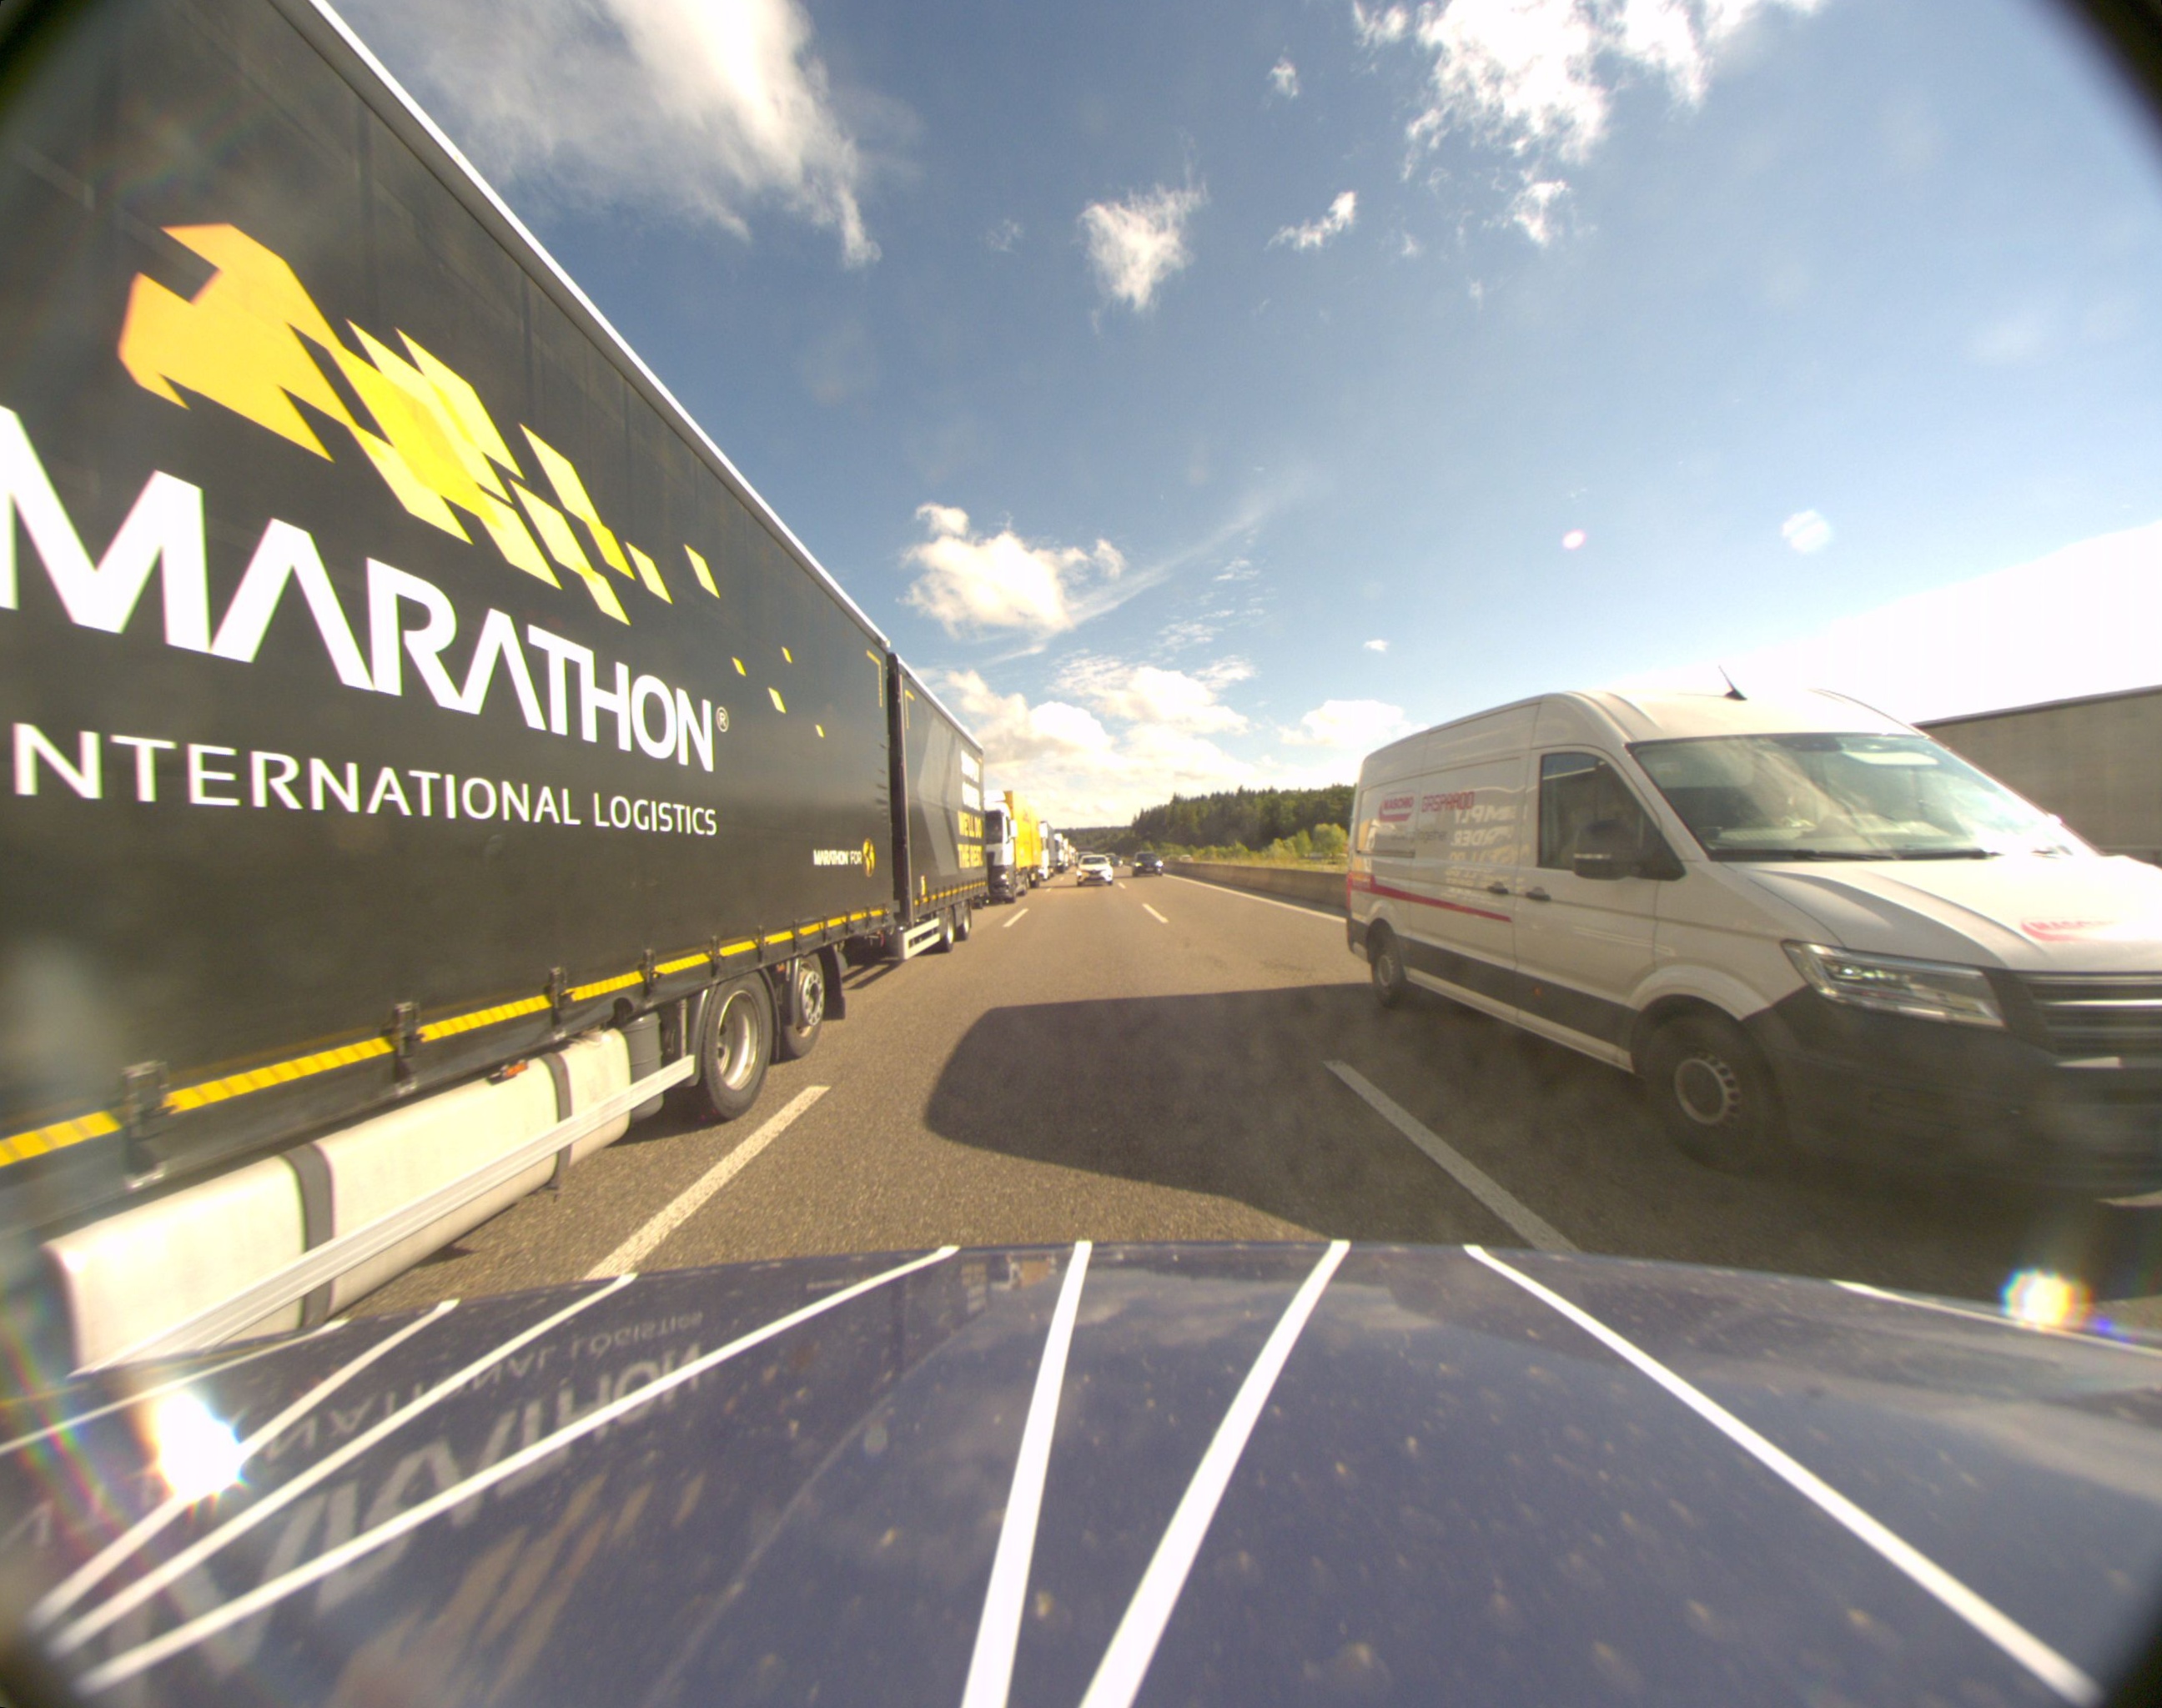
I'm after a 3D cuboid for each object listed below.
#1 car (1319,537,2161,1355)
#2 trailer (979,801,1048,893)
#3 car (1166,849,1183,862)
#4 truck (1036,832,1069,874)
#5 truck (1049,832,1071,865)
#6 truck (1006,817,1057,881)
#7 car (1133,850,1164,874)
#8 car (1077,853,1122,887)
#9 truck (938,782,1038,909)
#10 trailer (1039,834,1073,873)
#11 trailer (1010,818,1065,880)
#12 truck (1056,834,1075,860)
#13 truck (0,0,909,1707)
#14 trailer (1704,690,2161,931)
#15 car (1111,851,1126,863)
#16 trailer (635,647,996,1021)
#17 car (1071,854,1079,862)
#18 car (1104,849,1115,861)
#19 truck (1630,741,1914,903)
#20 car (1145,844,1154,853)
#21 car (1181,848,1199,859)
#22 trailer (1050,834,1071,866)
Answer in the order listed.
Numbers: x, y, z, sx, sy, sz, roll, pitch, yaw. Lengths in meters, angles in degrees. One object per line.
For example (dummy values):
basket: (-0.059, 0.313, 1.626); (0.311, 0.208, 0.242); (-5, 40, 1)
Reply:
car: (3.739, 0.295, 5.508); (2.020, 2.583, 6.181); (-1, 0, 0)
trailer: (-3.282, -0.311, 39.172); (2.418, 4.045, 8.926); (-4, 0, 0)
car: (12.358, 0.175, 100.597); (1.820, 1.684, 4.251); (-2, 1, 0)
truck: (-2.831, -0.069, 77.147); (2.655, 3.902, 6.943); (-4, 0, 2)
truck: (-2.592, -0.622, 95.388); (2.371, 3.996, 6.106); (-3, -1, 0)
truck: (-3.362, -0.347, 53.372); (2.654, 4.066, 6.492); (-4, 1, 3)
car: (4.523, 0.504, 51.334); (1.779, 1.533, 4.158); (0, 1, 1)
car: (0.967, 0.756, 38.723); (2.026, 1.510, 5.299); (-4, 0, 2)
truck: (-3.338, -0.292, 29.921); (2.418, 4.045, 9.664); (-4, 0, 0)
trailer: (-2.614, -0.090, 83.533); (2.652, 3.911, 11.175); (-4, 0, 2)
trailer: (-3.123, -0.429, 59.031); (2.648, 4.074, 13.981); (-4, 0, 3)
truck: (-2.515, -1.149, 124.019); (2.634, 3.959, 5.956); (-4, 0, 1)
truck: (-3.368, -0.227, 3.207); (2.748, 4.015, 10.201); (-4, 1, 0)
trailer: (19.241, -0.765, 15.009); (2.839, 3.969, 13.548); (-2, 1, 1)
car: (4.916, 0.357, 99.721); (1.779, 1.451, 4.158); (0, 1, 1)
trailer: (-3.392, -0.198, 12.691); (2.723, 3.937, 8.711); (-4, 0, 0)
car: (-1.634, 1.111, 209.608); (2.129, 2.030, 4.697); (-1, 0, 2)
car: (4.803, 0.145, 127.769); (1.779, 1.923, 4.214); (0, 0, 1)
truck: (19.290, -0.812, 21.791); (2.826, 3.953, 5.832); (-1, 1, 0)
car: (21.303, -1.793, 237.635); (2.038, 2.563, 7.321); (-4, 1, 0)
car: (16.904, -0.099, 117.910); (1.923, 1.468, 4.933); (-4, 0, 0)
trailer: (-2.622, -0.435, 102.408); (2.334, 3.973, 14.300); (-2, -1, 0)
